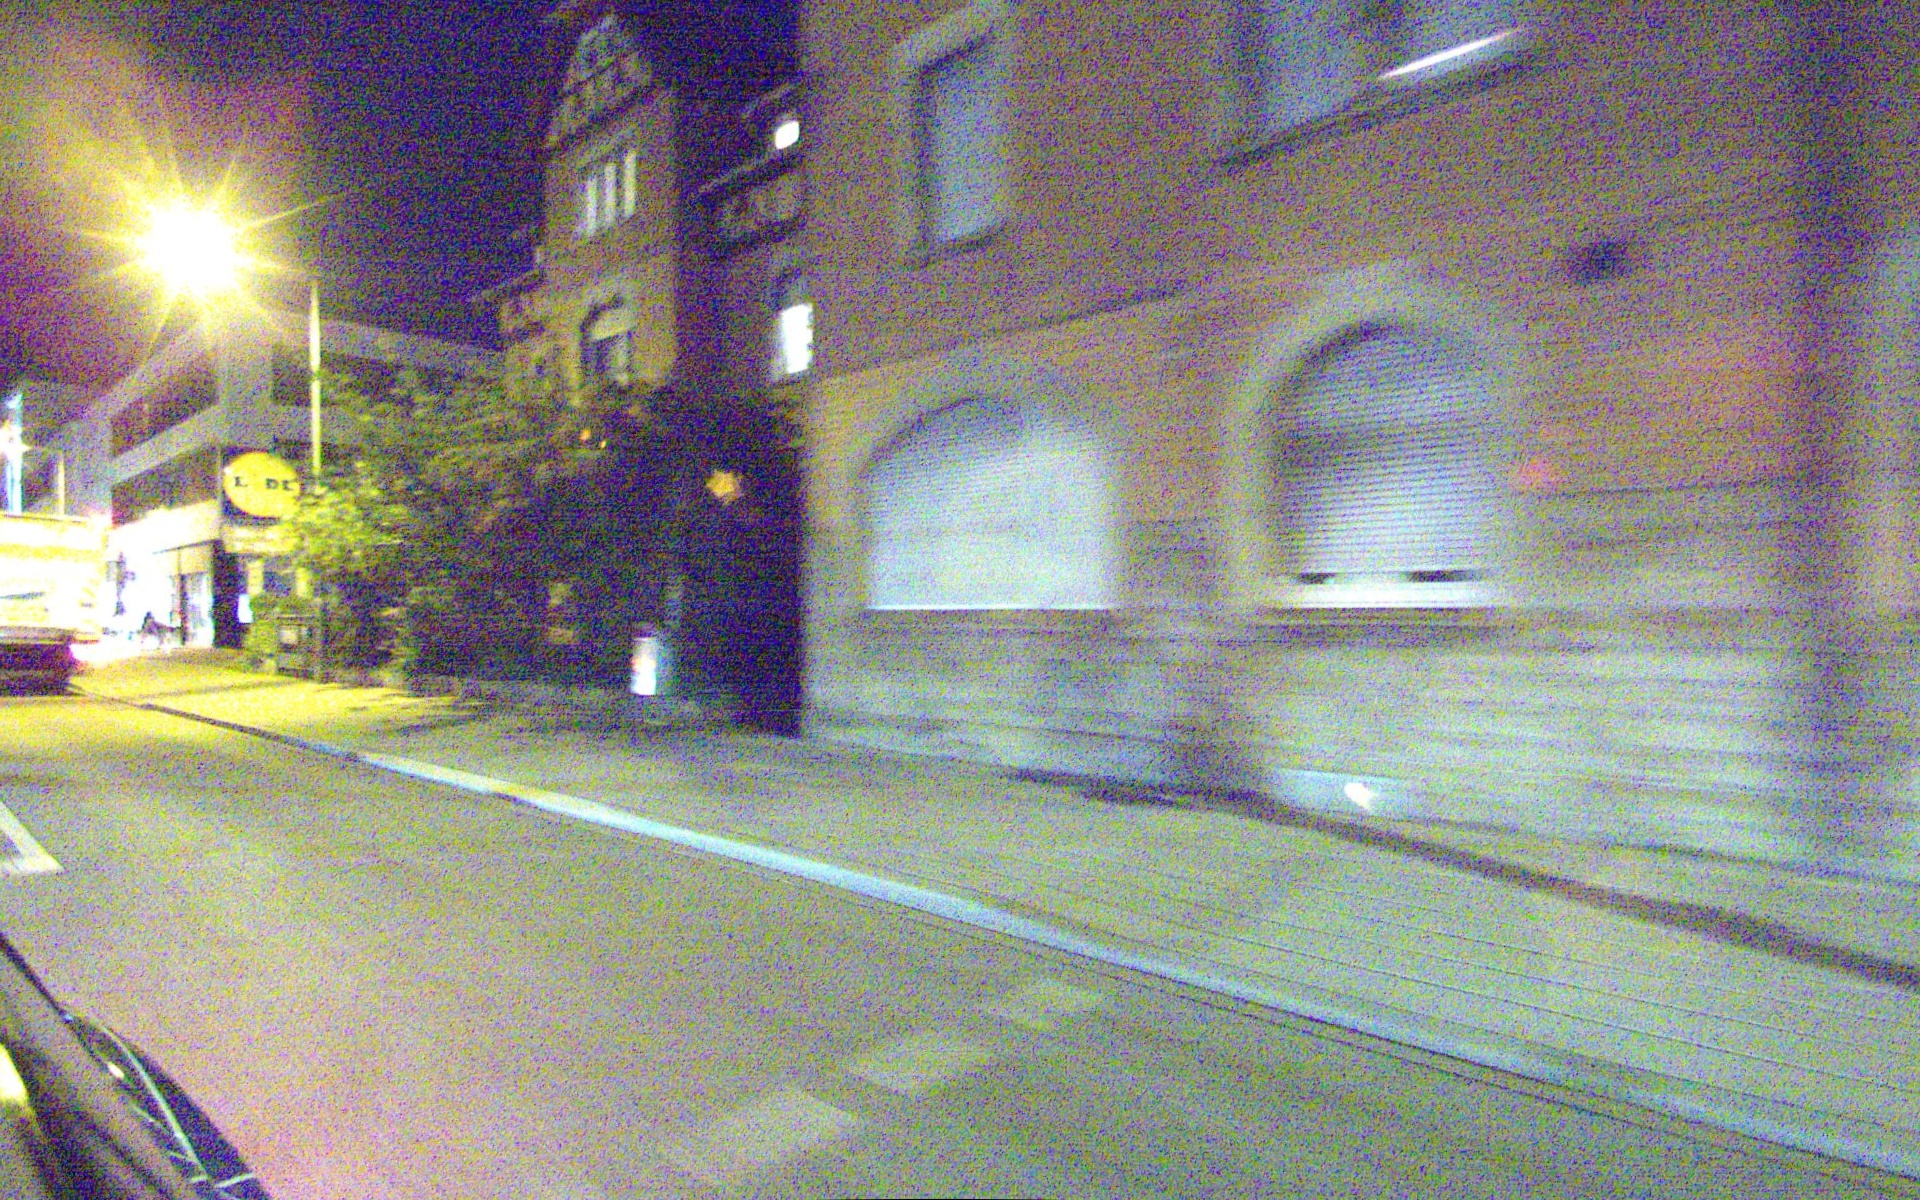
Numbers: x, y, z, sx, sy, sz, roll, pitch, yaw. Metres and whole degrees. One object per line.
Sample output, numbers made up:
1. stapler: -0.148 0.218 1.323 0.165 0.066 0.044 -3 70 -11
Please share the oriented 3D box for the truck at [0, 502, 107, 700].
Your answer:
1. truck: -21.914 0.085 22.623 10.107 3.746 2.726 -1 -2 41
